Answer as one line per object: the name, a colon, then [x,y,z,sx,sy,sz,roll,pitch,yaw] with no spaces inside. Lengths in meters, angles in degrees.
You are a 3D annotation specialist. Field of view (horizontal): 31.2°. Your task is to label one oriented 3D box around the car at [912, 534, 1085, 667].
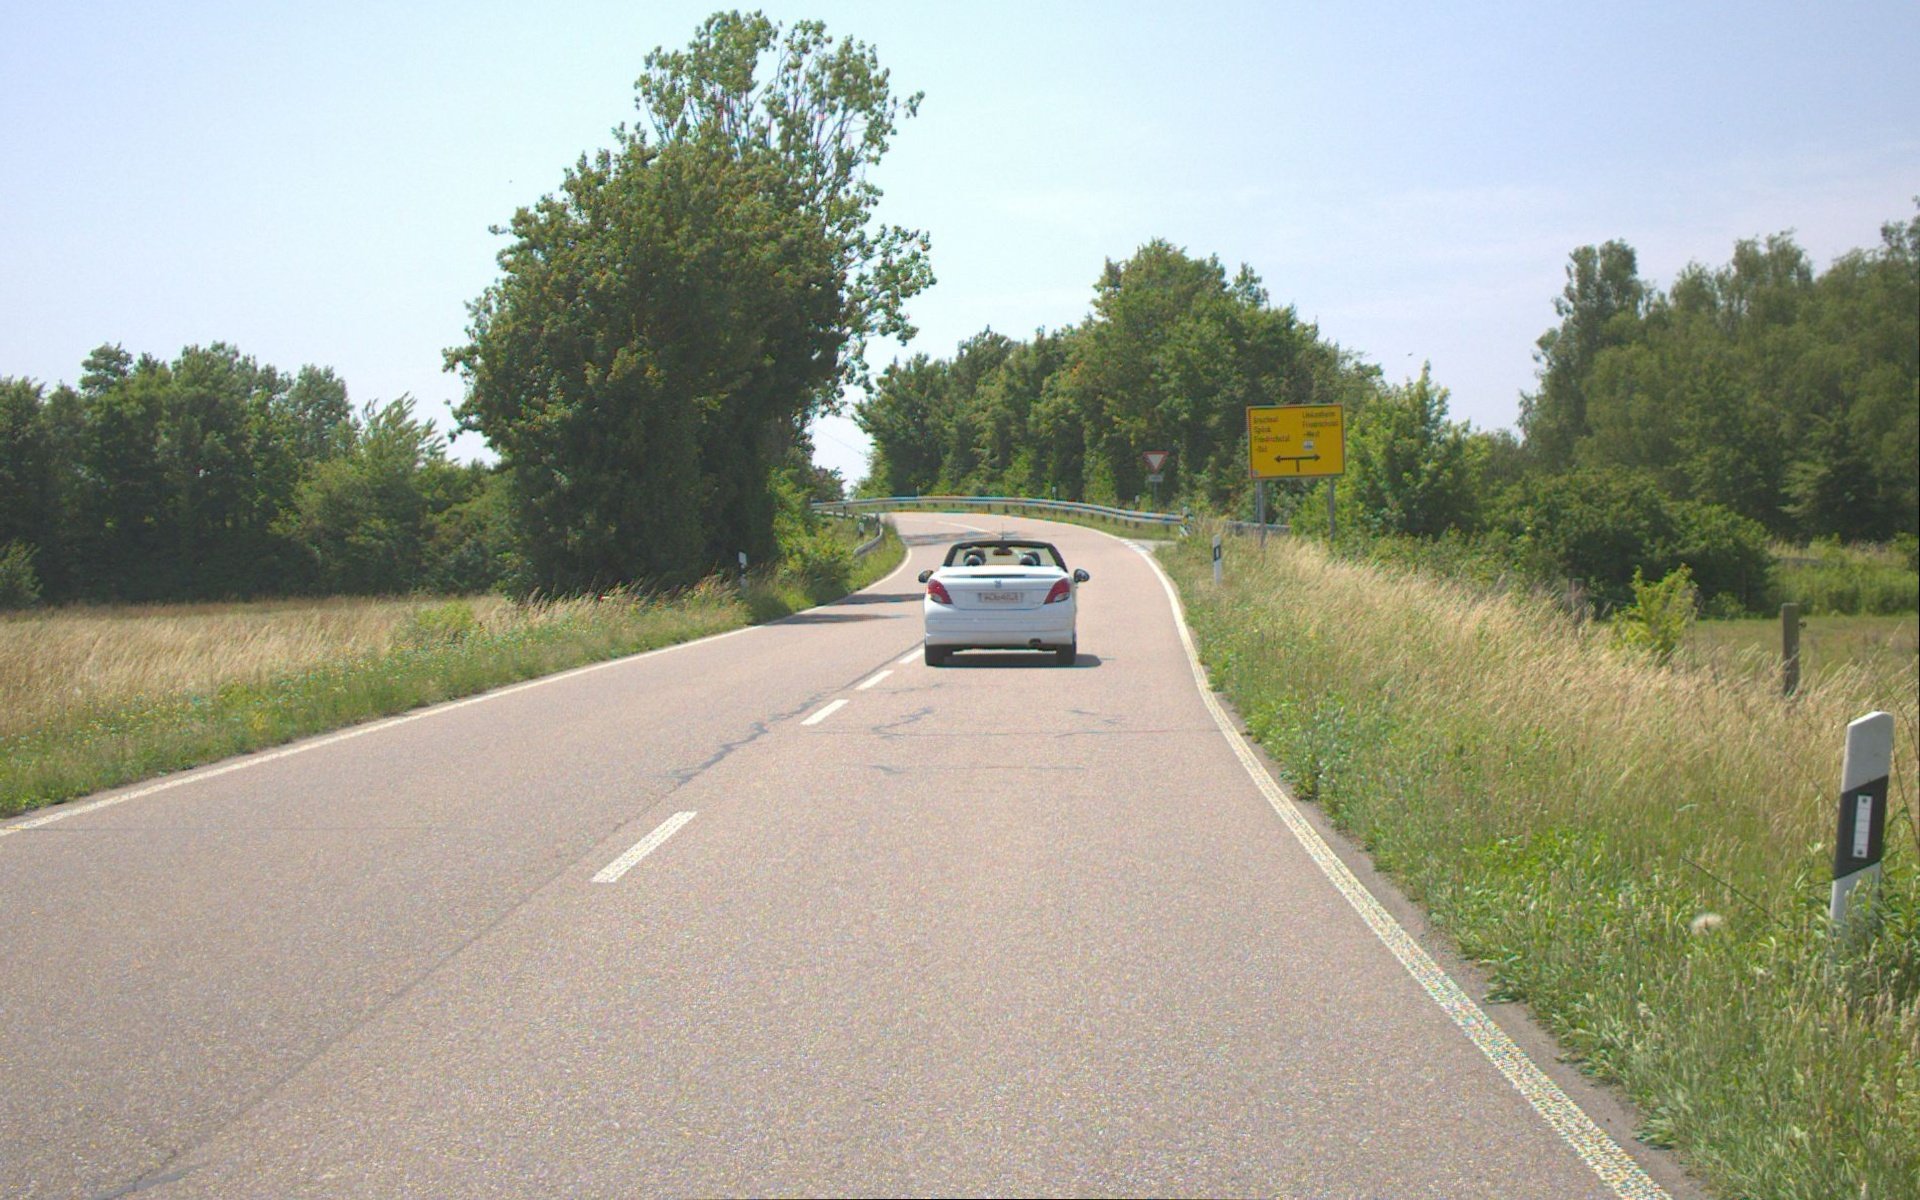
car: [0.456,-0.031,39.484,1.851,1.374,4.000,-1,2,1]
